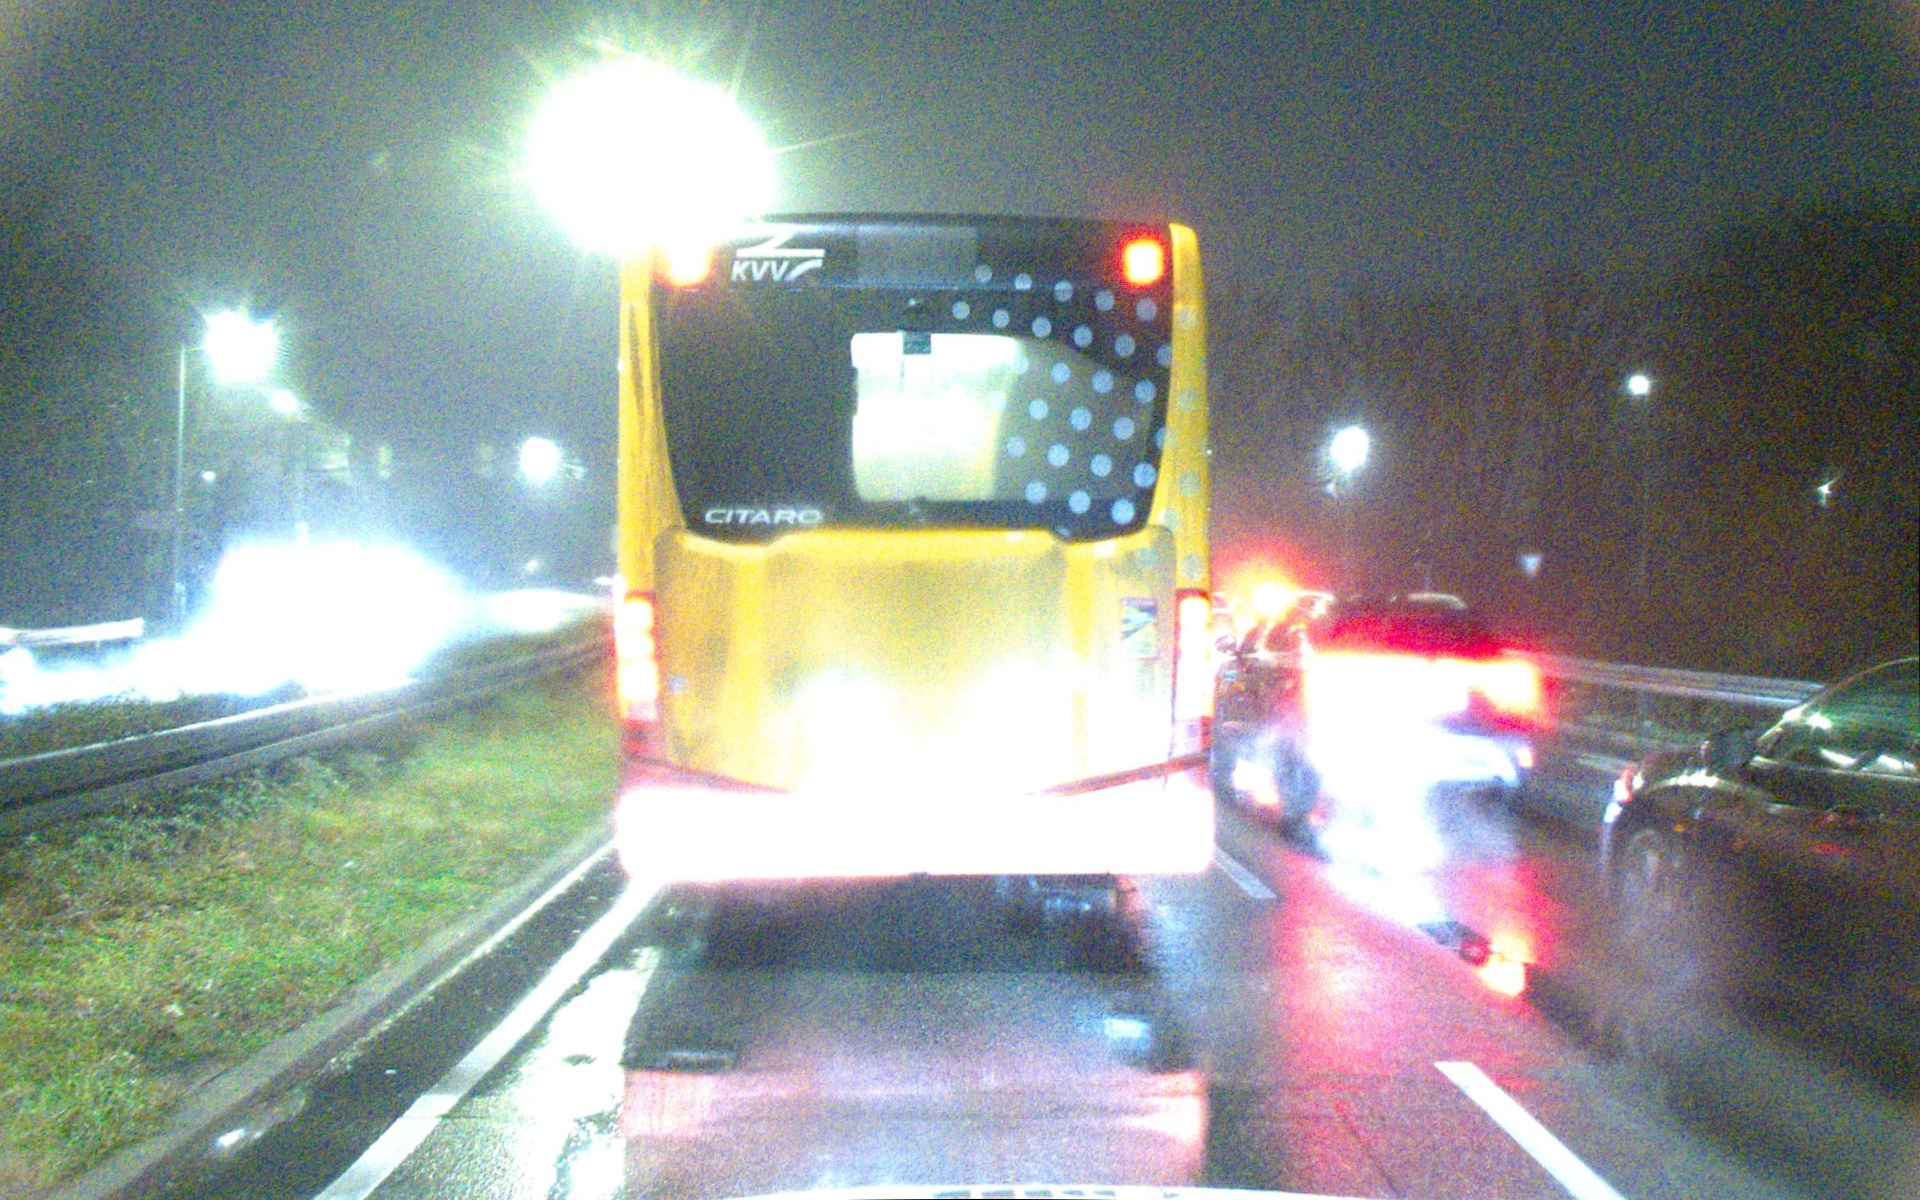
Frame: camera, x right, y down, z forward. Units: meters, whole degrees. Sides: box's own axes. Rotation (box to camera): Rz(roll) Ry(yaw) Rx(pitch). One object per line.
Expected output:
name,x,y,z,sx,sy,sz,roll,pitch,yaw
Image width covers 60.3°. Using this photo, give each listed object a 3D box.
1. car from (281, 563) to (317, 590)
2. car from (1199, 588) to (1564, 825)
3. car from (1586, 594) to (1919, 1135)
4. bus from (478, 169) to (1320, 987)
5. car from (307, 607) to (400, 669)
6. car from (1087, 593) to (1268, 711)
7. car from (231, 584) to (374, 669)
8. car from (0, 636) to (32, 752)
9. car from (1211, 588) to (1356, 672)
car,-39.239,-1.361,98.202,1.719,1.528,3.967,1,0,-26
car,3.097,0.723,12.967,1.644,1.548,3.957,1,0,-3
car,3.564,0.784,4.840,1.639,1.533,4.558,2,-1,-1
bus,-0.413,-0.207,11.127,3.219,3.103,9.540,0,1,-3
car,-17.755,1.082,48.579,1.732,1.659,4.242,0,0,-8
car,2.738,0.637,21.631,1.652,1.353,3.958,-1,-1,-3
car,-13.477,0.531,34.139,1.835,1.636,4.239,0,-1,-9
car,-12.734,1.183,19.223,1.679,1.448,4.661,-1,-1,-6
car,6.529,0.585,33.846,1.953,1.506,4.337,3,0,-2
